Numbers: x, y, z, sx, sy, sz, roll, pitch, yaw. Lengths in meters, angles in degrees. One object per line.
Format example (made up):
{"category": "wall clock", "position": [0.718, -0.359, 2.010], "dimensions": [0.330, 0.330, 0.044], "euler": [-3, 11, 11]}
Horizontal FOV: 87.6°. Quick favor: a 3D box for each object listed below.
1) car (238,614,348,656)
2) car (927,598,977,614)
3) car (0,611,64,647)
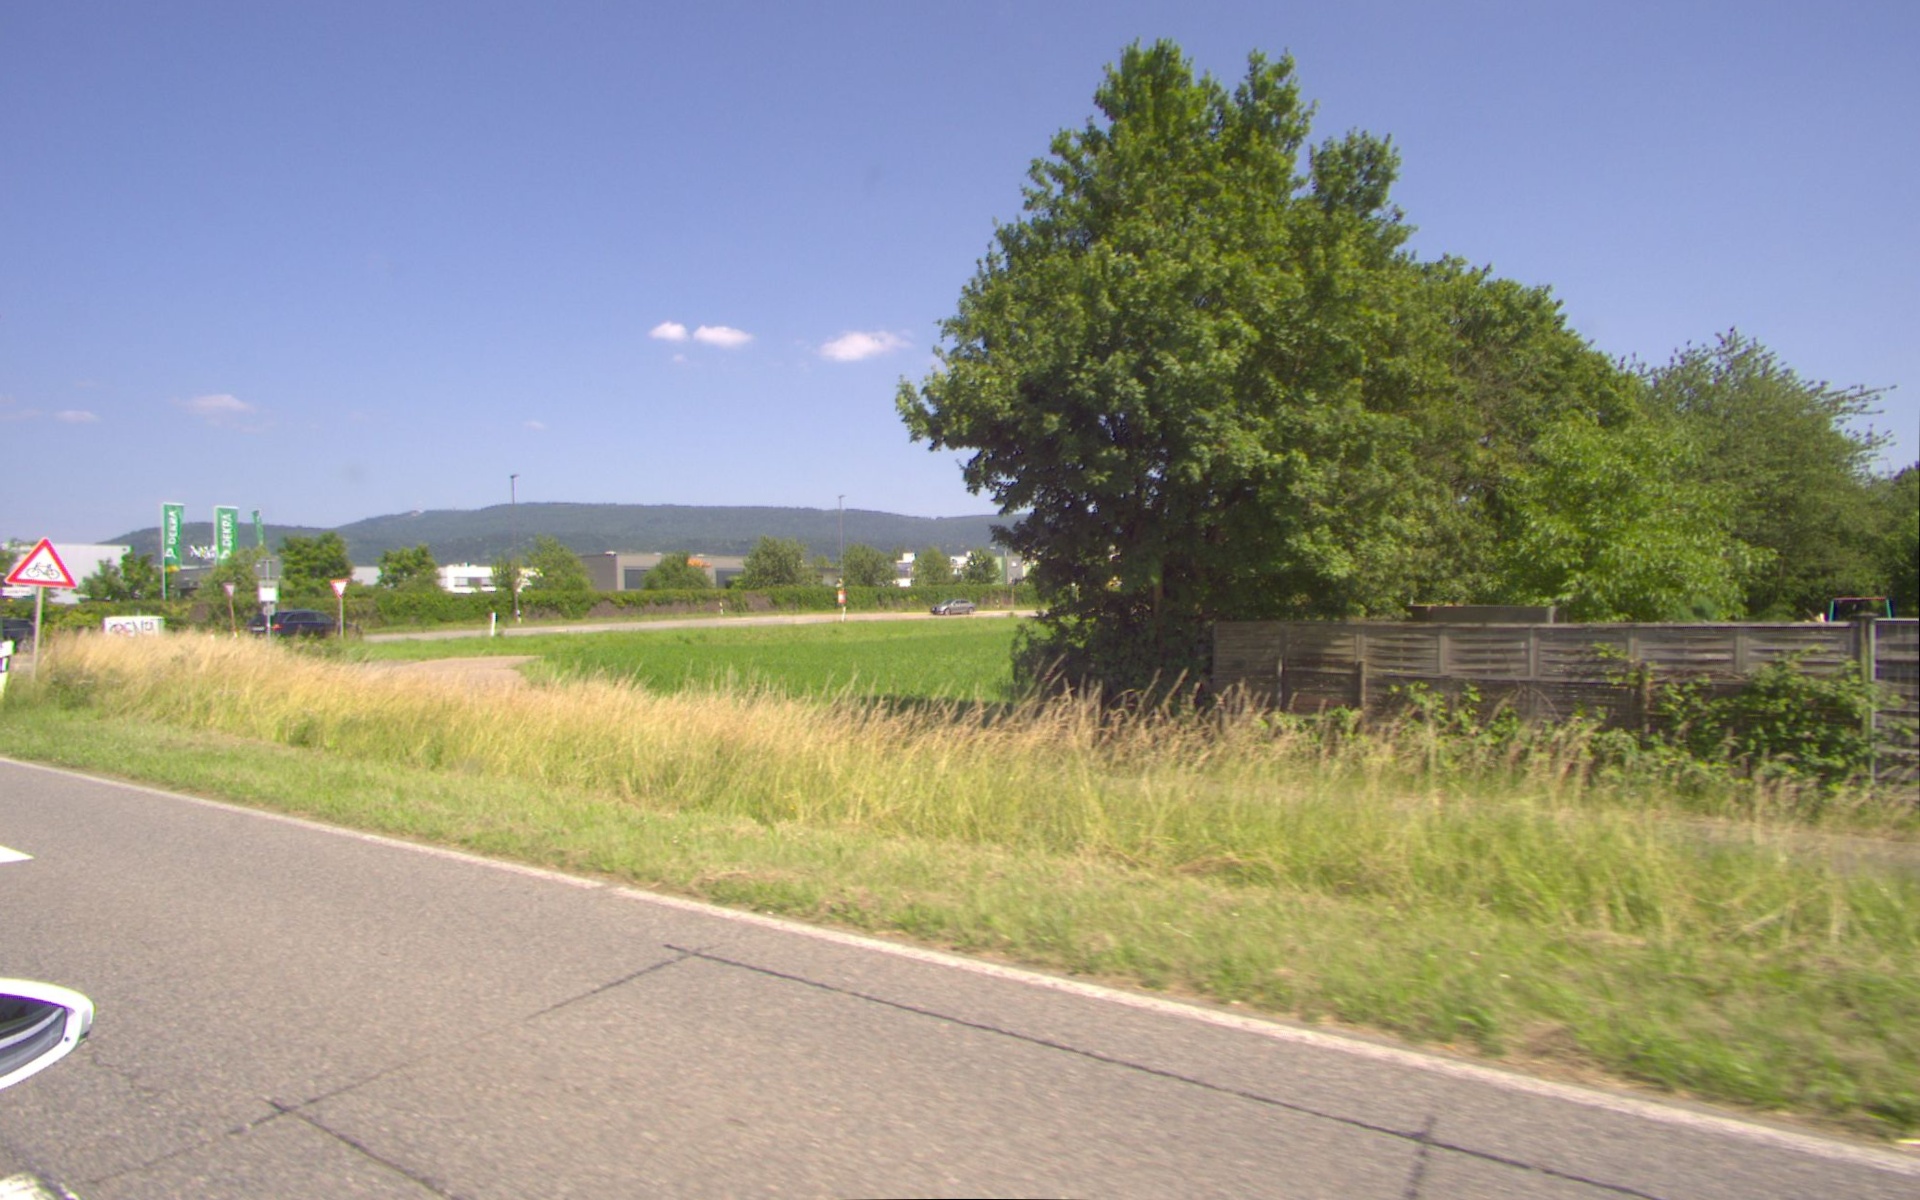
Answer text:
{"category": "car", "position": [-27.285, 1.409, 41.151], "dimensions": [1.961, 1.637, 4.339], "euler": [0, -1, -6]}
{"category": "car", "position": [-0.676, 0.556, 89.294], "dimensions": [4.327, 1.345, 1.791], "euler": [-1, 1, -39]}
{"category": "car", "position": [-37.364, 1.134, 38.610], "dimensions": [1.784, 1.345, 3.969], "euler": [0, 1, 39]}
